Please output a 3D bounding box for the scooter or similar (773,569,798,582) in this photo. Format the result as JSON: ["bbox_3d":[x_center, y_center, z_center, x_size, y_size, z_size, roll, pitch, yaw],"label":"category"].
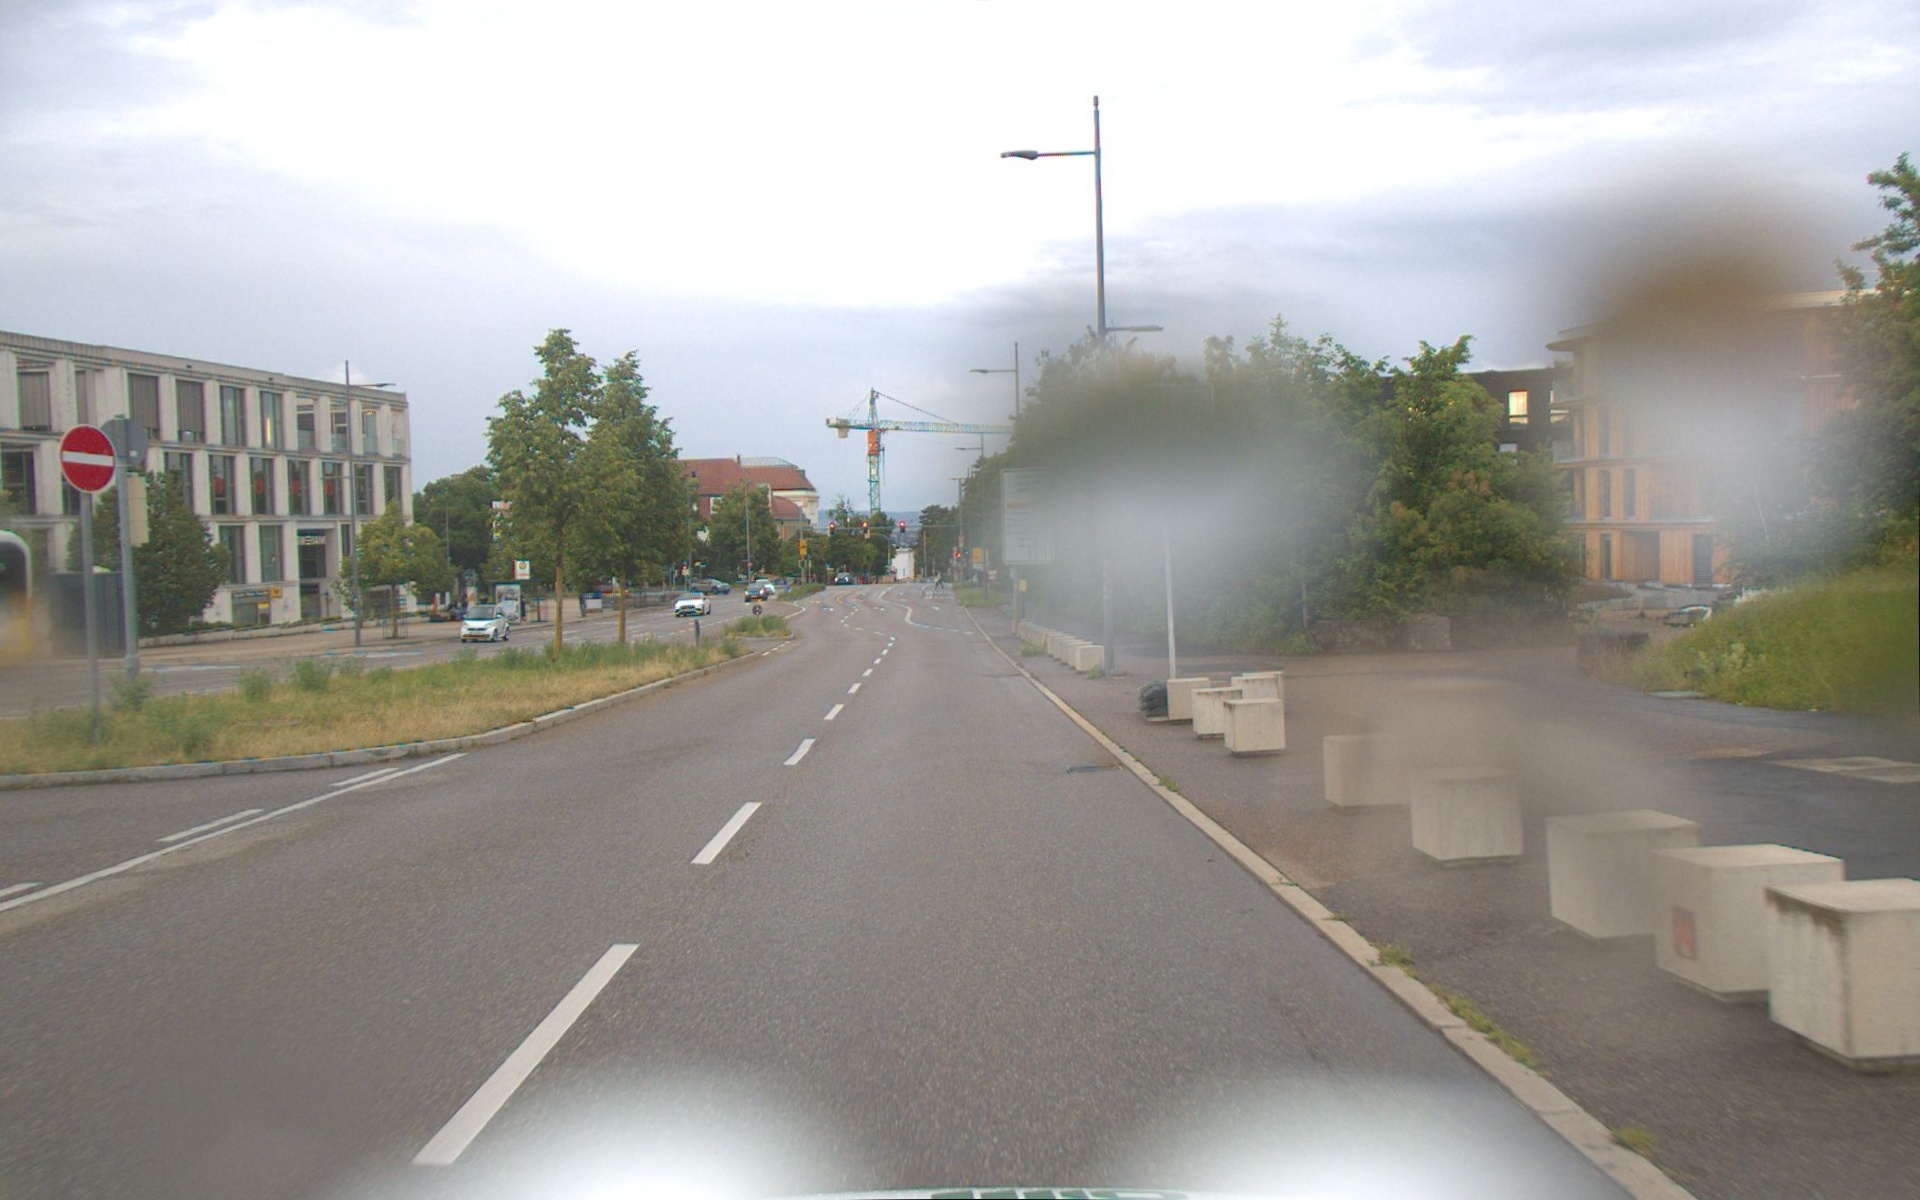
[{"bbox_3d":[-22.197,-3.127,210.727,3.026,1.465,0.948,-3,2,-3],"label":"scooter or similar"}]

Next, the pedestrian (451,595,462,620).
[{"bbox_3d":[-29.513,0.436,97.007,0.417,1.476,0.510,-2,1,-1],"label":"pedestrian"}]

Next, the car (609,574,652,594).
[{"bbox_3d":[-34.017,-1.661,170.731,3.905,1.950,2.000,-2,1,21],"label":"car"}]

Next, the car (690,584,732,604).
[{"bbox_3d":[-25.257,-0.595,167.808,3.920,1.911,1.992,-1,0,36],"label":"car"}]

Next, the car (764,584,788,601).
[{"bbox_3d":[-17.527,-0.738,157.764,1.835,1.454,4.175,-5,1,-1],"label":"car"}]

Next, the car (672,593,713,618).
[{"bbox_3d":[-17.095,0.331,105.960,1.953,1.443,4.512,-2,1,-1],"label":"car"}]

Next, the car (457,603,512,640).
[{"bbox_3d":[-20.695,0.924,72.089,1.581,1.534,2.972,-1,1,-1],"label":"car"}]

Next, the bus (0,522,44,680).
[{"bbox_3d":[-23.098,0.023,34.458,2.761,3.533,8.237,-1,0,6],"label":"bus"}]

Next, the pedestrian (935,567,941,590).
[{"bbox_3d":[-2.003,-1.999,151.416,0.392,2.048,0.514,-5,1,5],"label":"pedestrian"}]

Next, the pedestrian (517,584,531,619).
[{"bbox_3d":[-23.865,0.089,90.503,0.497,1.874,0.755,-2,1,-2],"label":"pedestrian"}]

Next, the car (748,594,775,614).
[{"bbox_3d":[-16.633,0.302,138.756,1.809,1.487,3.866,-3,1,-1],"label":"car"}]

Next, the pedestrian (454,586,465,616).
[{"bbox_3d":[-29.695,0.068,98.078,0.417,1.755,0.621,-2,1,-1],"label":"pedestrian"}]
